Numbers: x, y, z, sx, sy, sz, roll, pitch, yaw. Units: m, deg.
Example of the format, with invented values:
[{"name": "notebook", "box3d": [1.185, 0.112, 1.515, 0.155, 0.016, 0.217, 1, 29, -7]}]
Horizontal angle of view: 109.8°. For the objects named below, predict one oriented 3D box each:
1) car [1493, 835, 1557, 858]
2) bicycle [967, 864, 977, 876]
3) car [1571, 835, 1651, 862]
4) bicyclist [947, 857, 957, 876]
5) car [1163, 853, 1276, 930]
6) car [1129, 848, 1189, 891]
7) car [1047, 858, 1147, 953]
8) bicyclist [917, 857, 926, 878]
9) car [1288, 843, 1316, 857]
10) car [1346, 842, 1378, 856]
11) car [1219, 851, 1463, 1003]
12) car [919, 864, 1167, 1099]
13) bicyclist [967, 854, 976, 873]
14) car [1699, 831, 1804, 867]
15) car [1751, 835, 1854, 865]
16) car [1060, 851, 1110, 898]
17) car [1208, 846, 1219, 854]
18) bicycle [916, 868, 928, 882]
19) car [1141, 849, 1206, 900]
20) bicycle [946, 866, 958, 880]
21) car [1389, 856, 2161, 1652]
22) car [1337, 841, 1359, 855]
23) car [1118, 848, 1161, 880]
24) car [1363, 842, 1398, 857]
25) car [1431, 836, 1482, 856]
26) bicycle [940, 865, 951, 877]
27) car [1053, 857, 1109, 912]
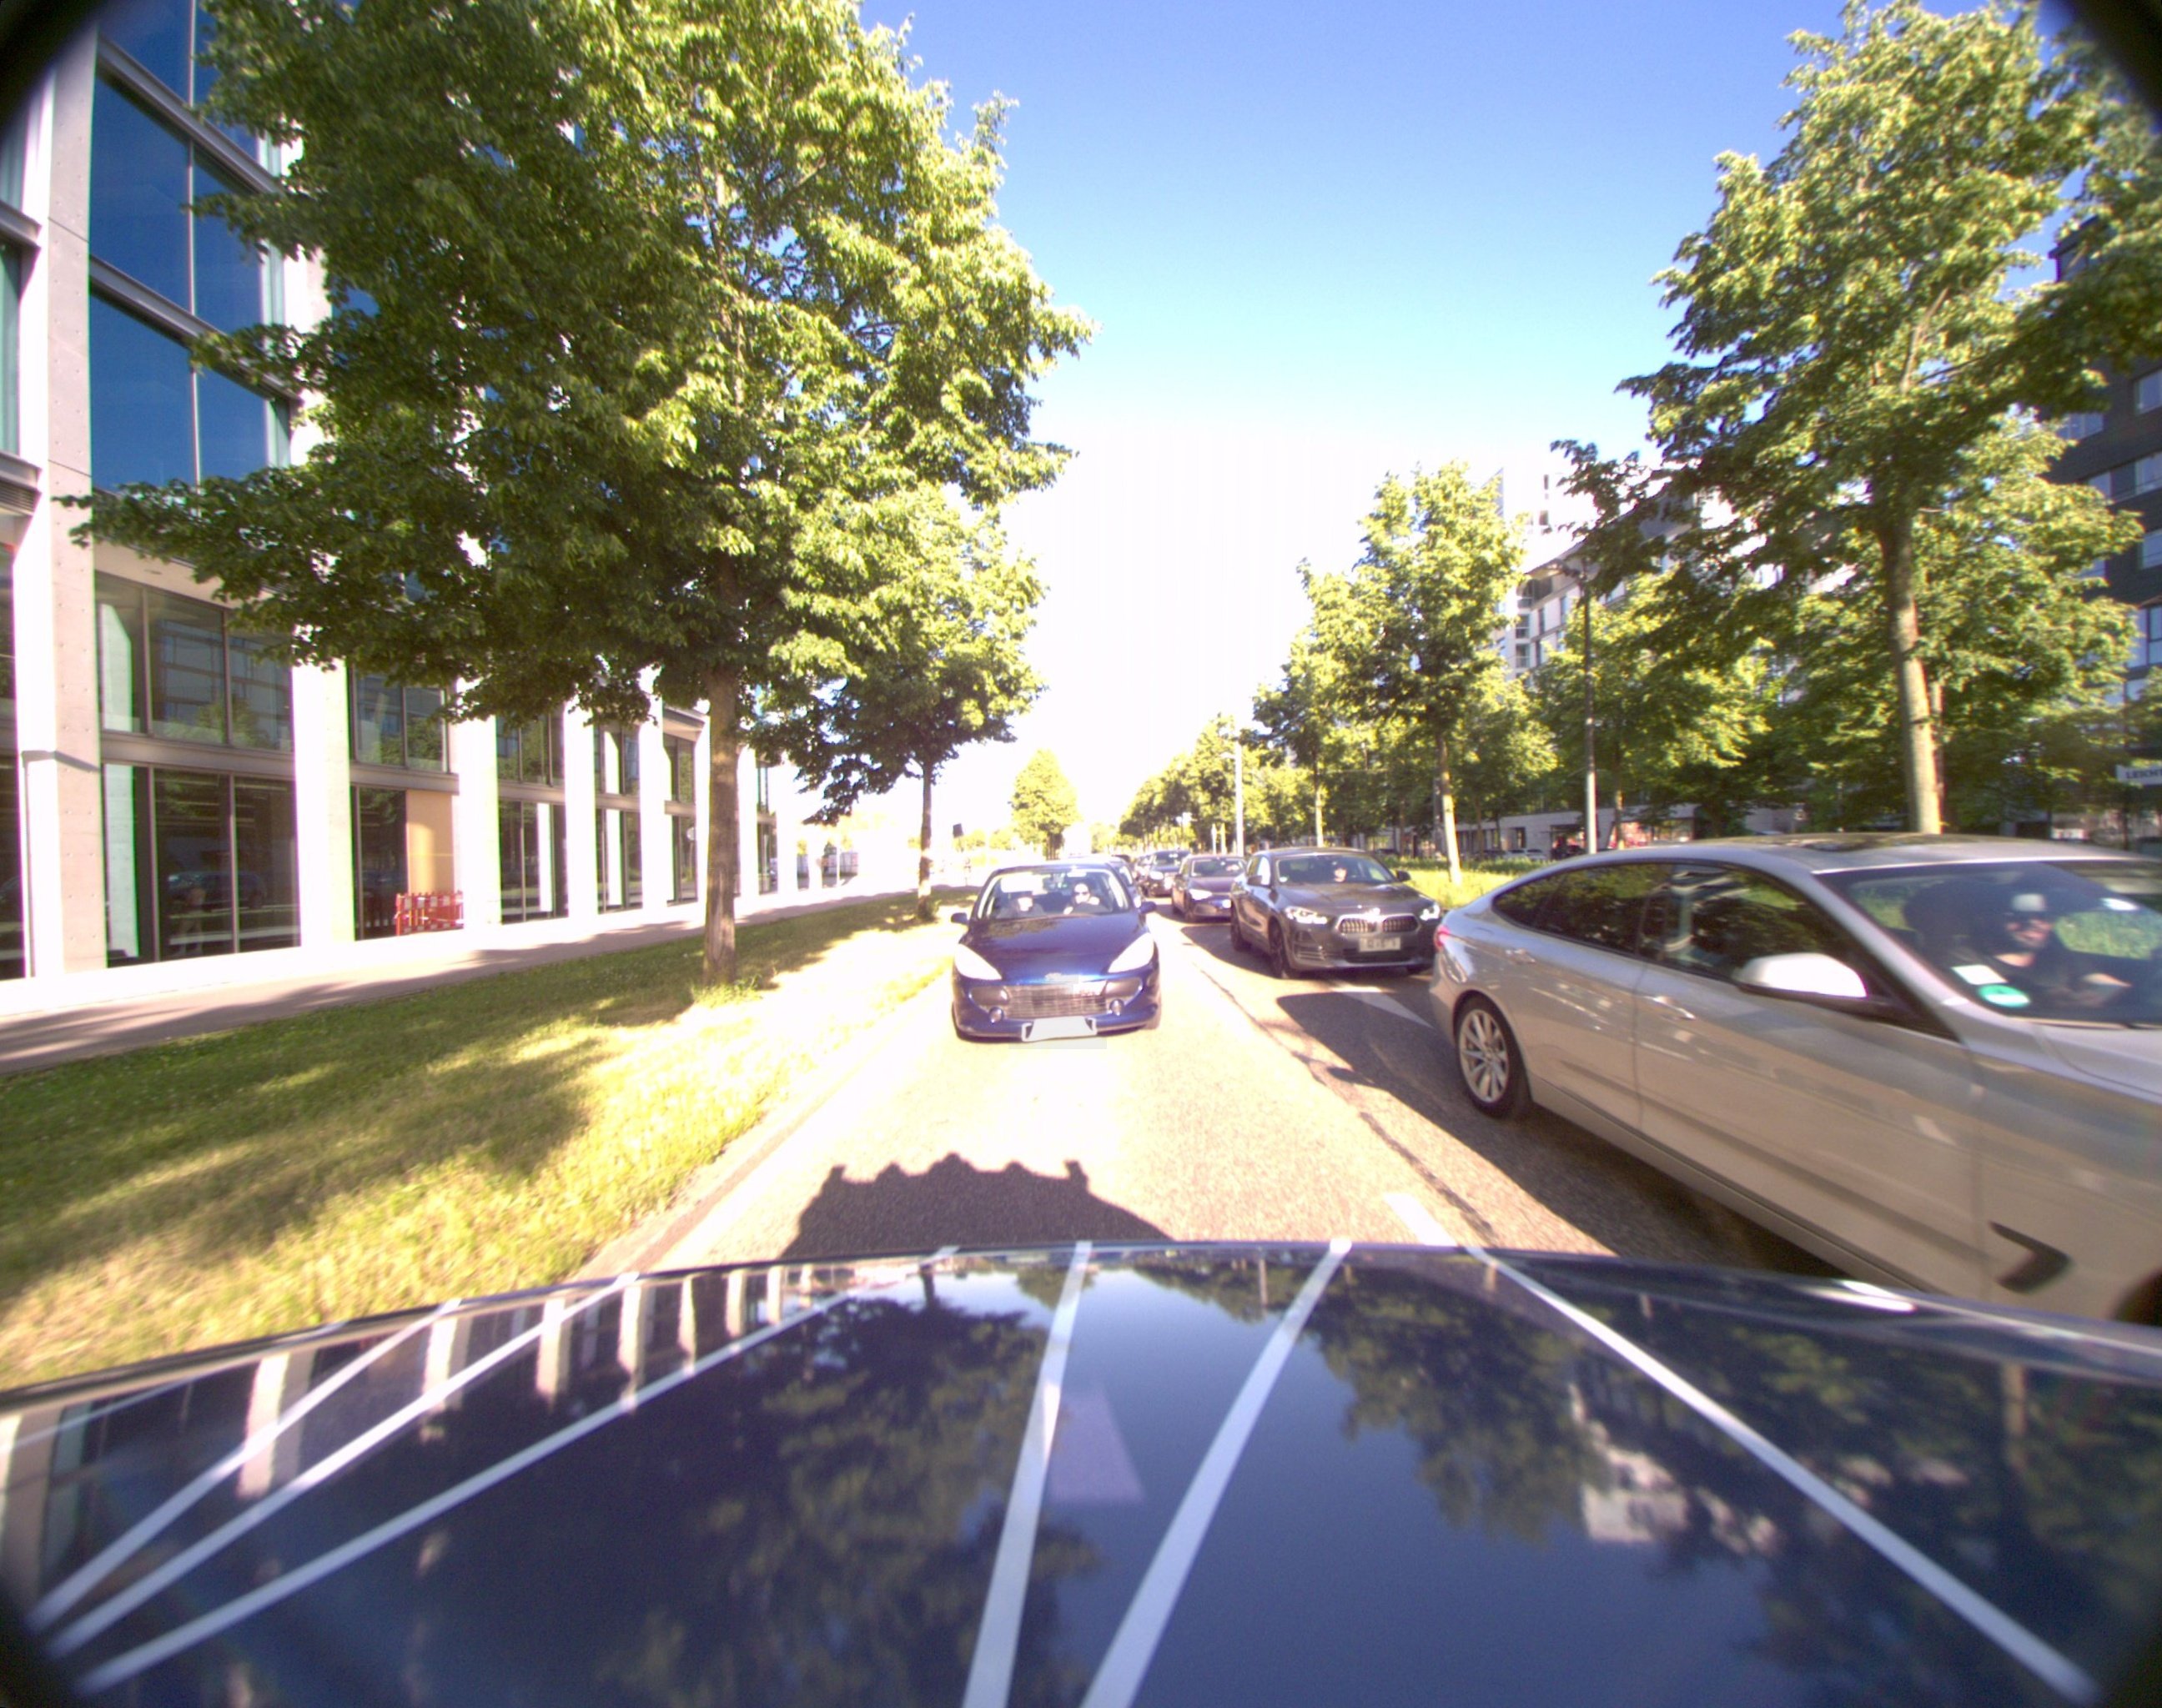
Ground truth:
[{"name": "car", "box3d": [34.629, -0.550, 59.387, 2.012, 1.689, 4.790, -2, 1, -3]}, {"name": "bicycle", "box3d": [-7.676, 1.137, 53.502, 0.464, 0.813, 1.344, -2, 1, 1]}, {"name": "car", "box3d": [34.256, -0.361, 49.263, 1.858, 1.674, 4.792, -1, 1, 1]}, {"name": "bicyclist", "box3d": [-8.335, 0.802, 49.118, 0.534, 1.210, 0.507, -2, 1, 1]}, {"name": "car", "box3d": [2.950, 0.739, 17.021, 1.812, 1.446, 4.254, -1, 1, 1]}, {"name": "car", "box3d": [3.278, 0.604, 32.768, 2.012, 1.689, 4.791, -1, 1, -1]}, {"name": "car", "box3d": [0.282, 0.859, 14.732, 1.612, 1.463, 4.395, -1, 1, 1]}, {"name": "bicyclist", "box3d": [-10.165, 0.849, 48.451, 0.448, 1.282, 0.418, -2, 2, 1]}, {"name": "car", "box3d": [25.255, -0.435, 87.044, 1.858, 1.528, 4.735, -1, 1, 1]}, {"name": "car", "box3d": [34.362, -0.614, 93.029, 2.012, 1.689, 4.791, -1, 1, -1]}, {"name": "car", "box3d": [3.071, 0.756, 9.909, 1.812, 1.514, 4.028, -1, 1, 1]}, {"name": "car", "box3d": [-0.246, 0.911, 7.170, 1.686, 1.514, 3.785, -1, 1, 1]}, {"name": "bicyclist", "box3d": [-7.712, 0.668, 53.472, 0.534, 1.282, 0.521, -2, 1, 1]}, {"name": "car", "box3d": [34.142, -0.256, 38.870, 1.858, 1.739, 4.000, -1, 1, 1]}, {"name": "car", "box3d": [38.617, -0.235, 40.822, 1.757, 1.496, 3.999, -1, 1, 0]}, {"name": "car", "box3d": [0.169, 0.694, 28.317, 1.705, 1.591, 3.785, -1, 1, 1]}, {"name": "car", "box3d": [26.479, -0.824, 152.012, 1.666, 1.385, 4.000, -1, 1, 1]}, {"name": "bicycle", "box3d": [-10.135, 1.308, 48.438, 0.415, 0.813, 1.320, -2, 1, 1]}, {"name": "car", "box3d": [3.099, 0.634, 26.144, 1.812, 1.581, 4.165, -1, 1, 2]}, {"name": "bicycle", "box3d": [-8.323, 1.225, 49.133, 0.464, 0.813, 1.344, -2, 1, 1]}, {"name": "car", "box3d": [2.998, 0.794, 2.720, 1.813, 1.480, 4.741, -1, 1, -1]}, {"name": "car", "box3d": [34.352, -0.752, 97.856, 1.601, 1.659, 3.743, -1, 1, 1]}, {"name": "car", "box3d": [3.330, 0.549, 44.011, 2.012, 1.689, 4.791, -1, 1, -1]}, {"name": "car", "box3d": [34.353, -0.532, 87.223, 2.012, 1.689, 4.791, -1, 1, -1]}, {"name": "car", "box3d": [34.386, -0.707, 69.723, 2.012, 1.689, 4.790, -2, 1, -3]}, {"name": "bicycle", "box3d": [-9.399, 1.176, 52.753, 0.464, 0.813, 1.344, -2, 1, 1]}, {"name": "car", "box3d": [0.024, 0.795, 21.427, 1.407, 1.326, 3.785, -1, 1, 1]}]
